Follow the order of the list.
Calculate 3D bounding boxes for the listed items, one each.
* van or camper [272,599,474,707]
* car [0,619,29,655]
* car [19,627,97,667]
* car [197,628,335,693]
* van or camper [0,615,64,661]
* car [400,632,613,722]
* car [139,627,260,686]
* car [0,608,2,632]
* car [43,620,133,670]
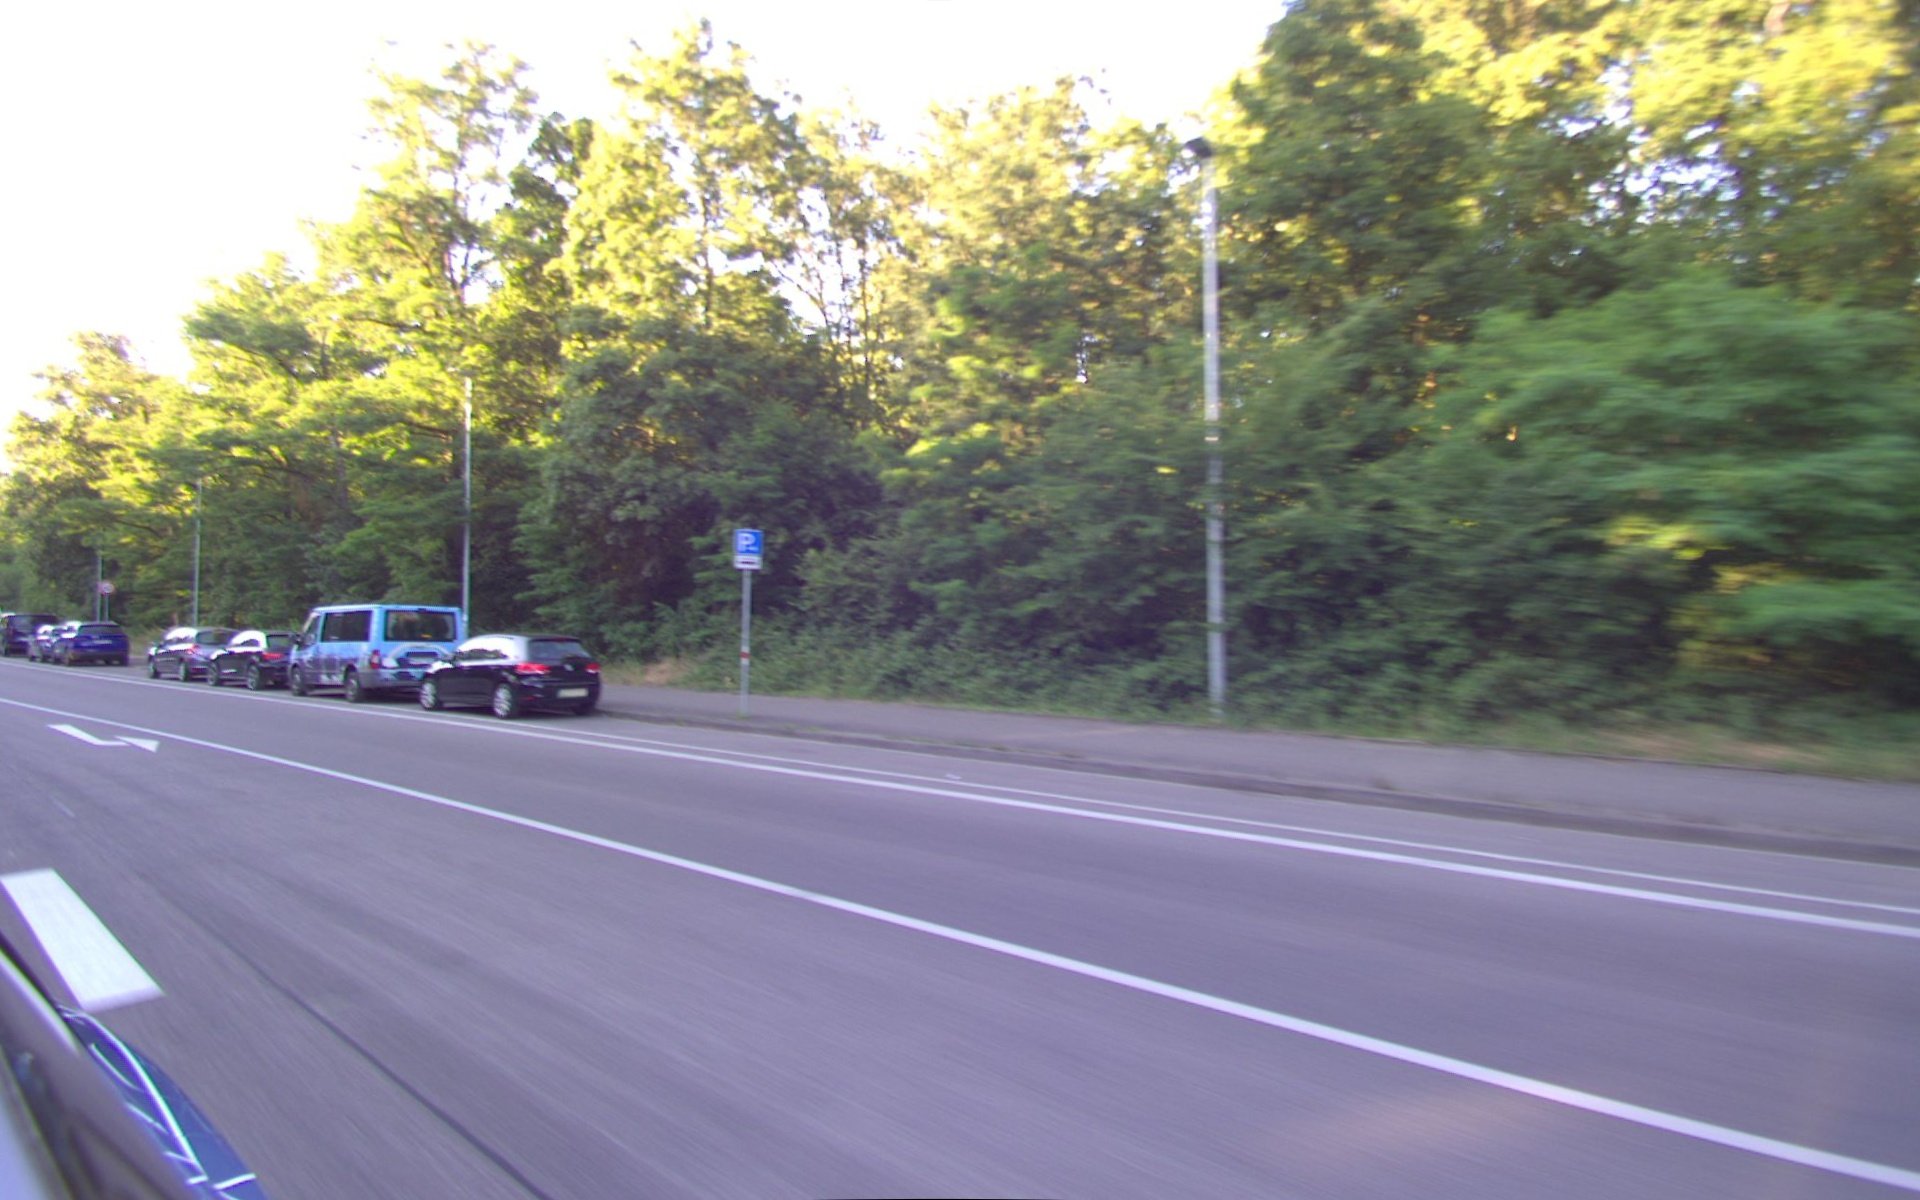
[{"bbox_3d":[-12.840,1.117,22.026,5.006,2.110,2.012,-1,-4,38],"label":"van or camper"},{"bbox_3d":[-52.532,1.987,55.405,4.381,1.872,1.671,-1,-1,38],"label":"car"},{"bbox_3d":[-36.136,1.869,40.526,4.242,1.513,1.652,-1,-4,40],"label":"car"},{"bbox_3d":[-17.362,1.482,25.281,3.963,1.505,1.529,-1,-3,35],"label":"car"},{"bbox_3d":[-43.758,1.787,47.224,5.455,2.033,1.982,-2,-5,39],"label":"van or camper"},{"bbox_3d":[-8.383,1.347,18.583,4.235,1.473,1.672,-1,-4,36],"label":"car"},{"bbox_3d":[-21.429,1.552,28.473,4.032,1.546,1.602,-1,-4,36],"label":"car"},{"bbox_3d":[-61.060,1.804,62.427,7.085,2.626,2.057,-2,-5,41],"label":"car"},{"bbox_3d":[-32.161,1.638,37.295,4.518,1.725,1.727,-1,-4,40],"label":"car"}]
